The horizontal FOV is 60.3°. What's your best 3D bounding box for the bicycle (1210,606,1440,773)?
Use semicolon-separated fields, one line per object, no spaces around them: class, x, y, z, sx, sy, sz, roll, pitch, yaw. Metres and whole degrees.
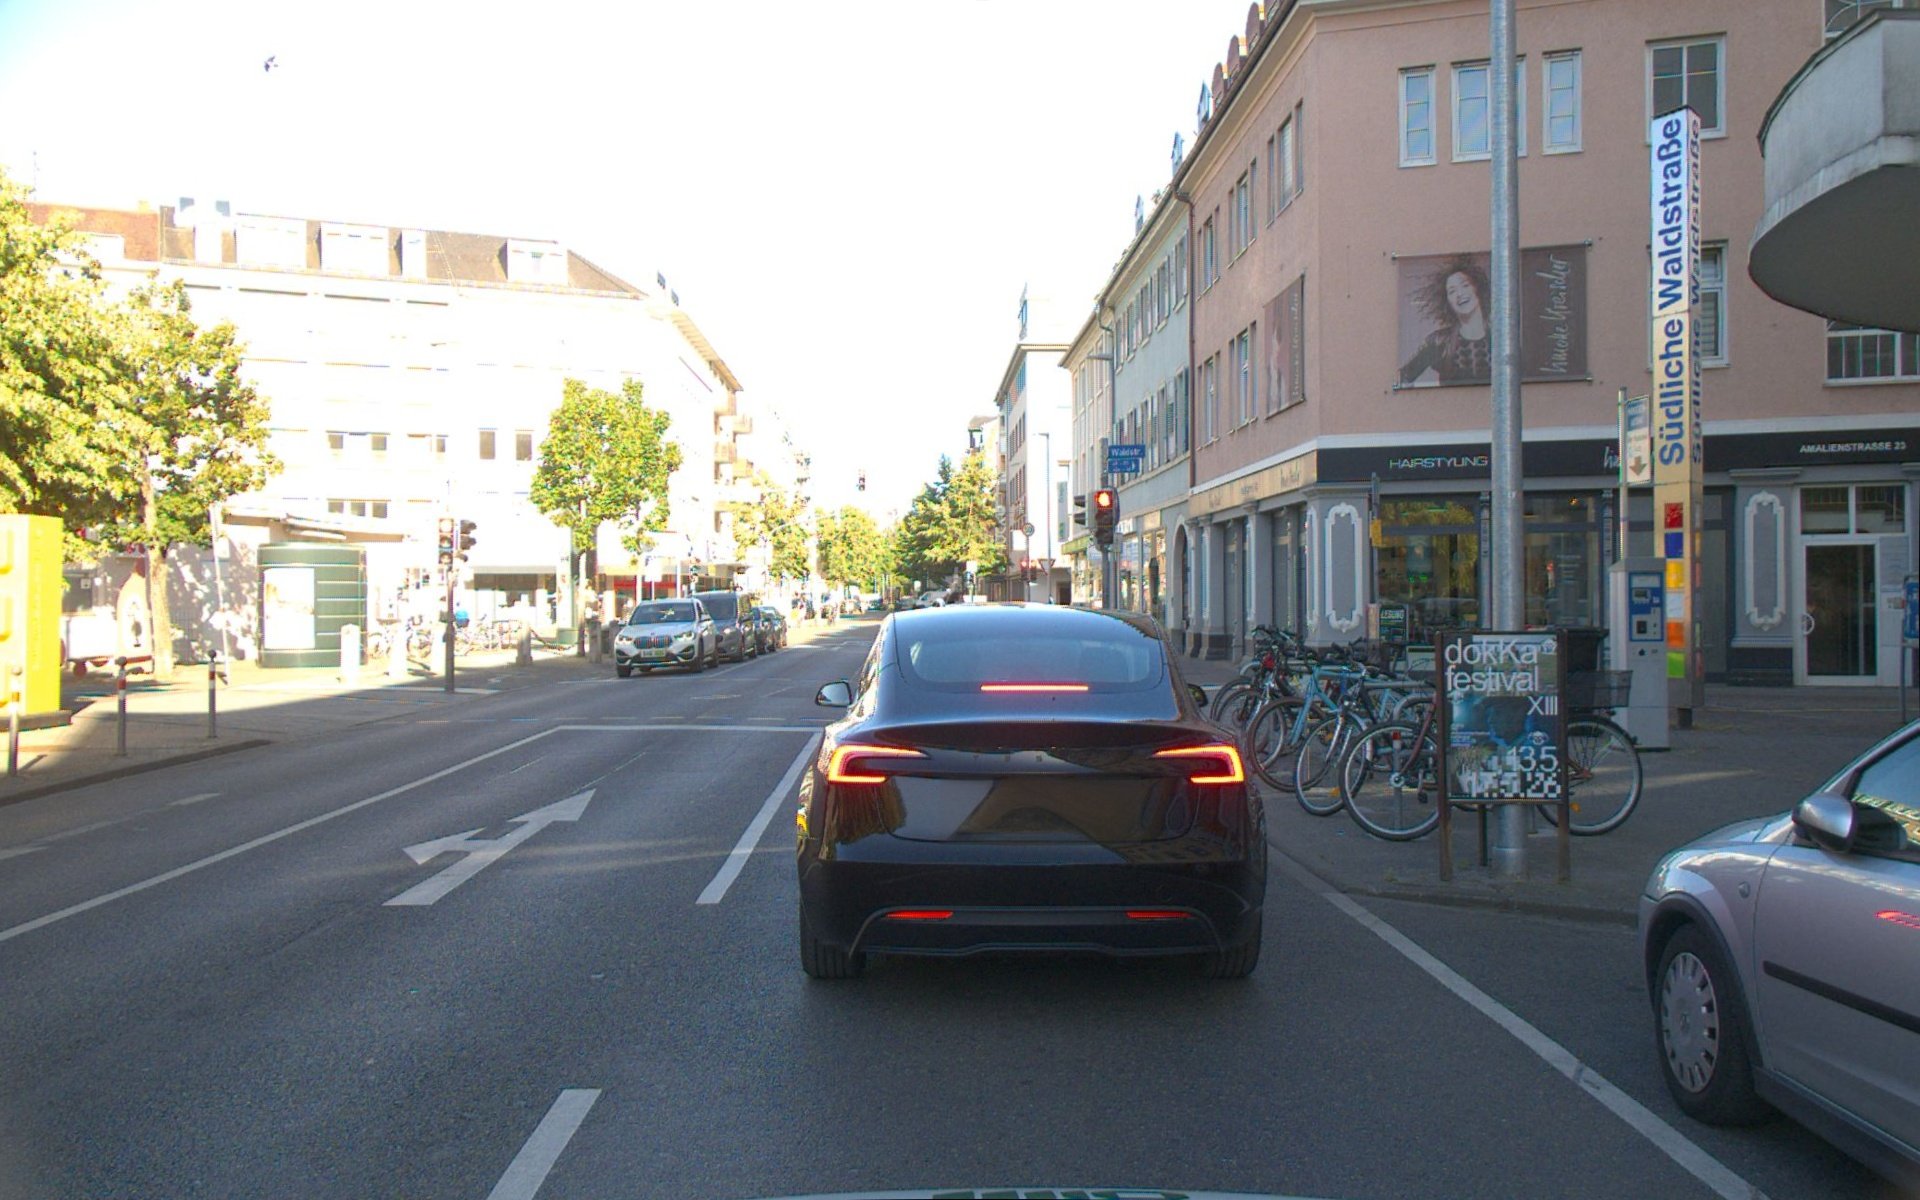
bicycle;2.990;0.721;13.677;1.709;1.289;0.781;-2;0;2

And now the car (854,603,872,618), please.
car;-10.976;1.210;186.884;1.954;1.666;3.997;0;0;-4

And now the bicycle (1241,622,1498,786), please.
bicycle;3.059;0.771;12.499;1.760;1.144;0.782;-2;0;5

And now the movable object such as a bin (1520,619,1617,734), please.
movable object such as a bin;6.047;0.748;16.456;0.737;1.111;0.627;1;0;1

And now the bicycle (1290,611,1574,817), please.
bicycle;3.142;0.749;11.149;1.686;1.290;0.791;-2;0;5

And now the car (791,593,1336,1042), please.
car;0.317;0.724;7.488;1.810;1.480;3.999;0;0;-1

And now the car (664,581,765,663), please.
car;-6.240;0.529;42.495;1.797;1.877;4.674;-4;0;0

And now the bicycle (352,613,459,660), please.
bicycle;-14.187;0.922;42.346;2.455;1.176;0.842;0;0;-2

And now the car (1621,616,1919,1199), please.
car;2.933;0.778;3.508;1.580;1.406;3.642;1;0;0

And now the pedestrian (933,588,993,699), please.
pedestrian;0.035;0.620;23.959;0.734;1.579;0.697;0;0;-14

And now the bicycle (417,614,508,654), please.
bicycle;-14.886;1.014;49.557;2.485;1.176;0.841;0;0;-6

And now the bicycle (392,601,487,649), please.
bicycle;-14.708;0.696;46.803;2.429;1.347;0.921;0;0;-6

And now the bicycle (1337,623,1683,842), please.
bicycle;3.288;0.784;10.019;1.846;1.214;0.692;-2;1;5

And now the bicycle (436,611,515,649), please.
bicycle;-15.210;0.940;51.980;2.279;1.176;0.841;0;0;-6

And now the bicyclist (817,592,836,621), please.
bicyclist;-7.709;0.371;95.486;1.104;1.657;0.964;0;0;-4

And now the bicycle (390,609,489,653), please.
bicycle;-14.100;0.842;44.880;2.412;1.176;0.842;0;0;-2

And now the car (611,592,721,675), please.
car;-6.378;0.688;36.246;1.771;1.582;4.307;-4;0;-3

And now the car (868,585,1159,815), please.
car;0.290;0.668;13.197;1.953;1.538;4.173;0;0;-2

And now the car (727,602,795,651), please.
car;-6.801;0.872;56.901;1.954;1.461;4.671;-4;0;-3

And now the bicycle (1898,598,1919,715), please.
bicycle;10.273;0.592;17.011;0.645;1.220;2.212;0;0;18

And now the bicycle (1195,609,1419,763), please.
bicycle;3.055;0.748;14.708;1.822;1.280;0.833;-2;0;5

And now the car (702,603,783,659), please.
car;-6.418;0.884;49.316;1.954;1.434;4.671;-4;0;-3

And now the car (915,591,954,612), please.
car;-2.563;0.158;167.507;3.907;2.049;1.999;0;0;-2

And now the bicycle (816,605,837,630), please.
bicycle;-7.693;0.998;95.393;1.089;1.368;3.997;0;0;-4

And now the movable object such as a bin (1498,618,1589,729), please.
movable object such as a bin;6.026;0.751;17.093;0.718;1.111;0.627;1;0;1

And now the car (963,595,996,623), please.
car;1.174;0.543;100.703;1.953;1.657;3.999;0;0;-1
